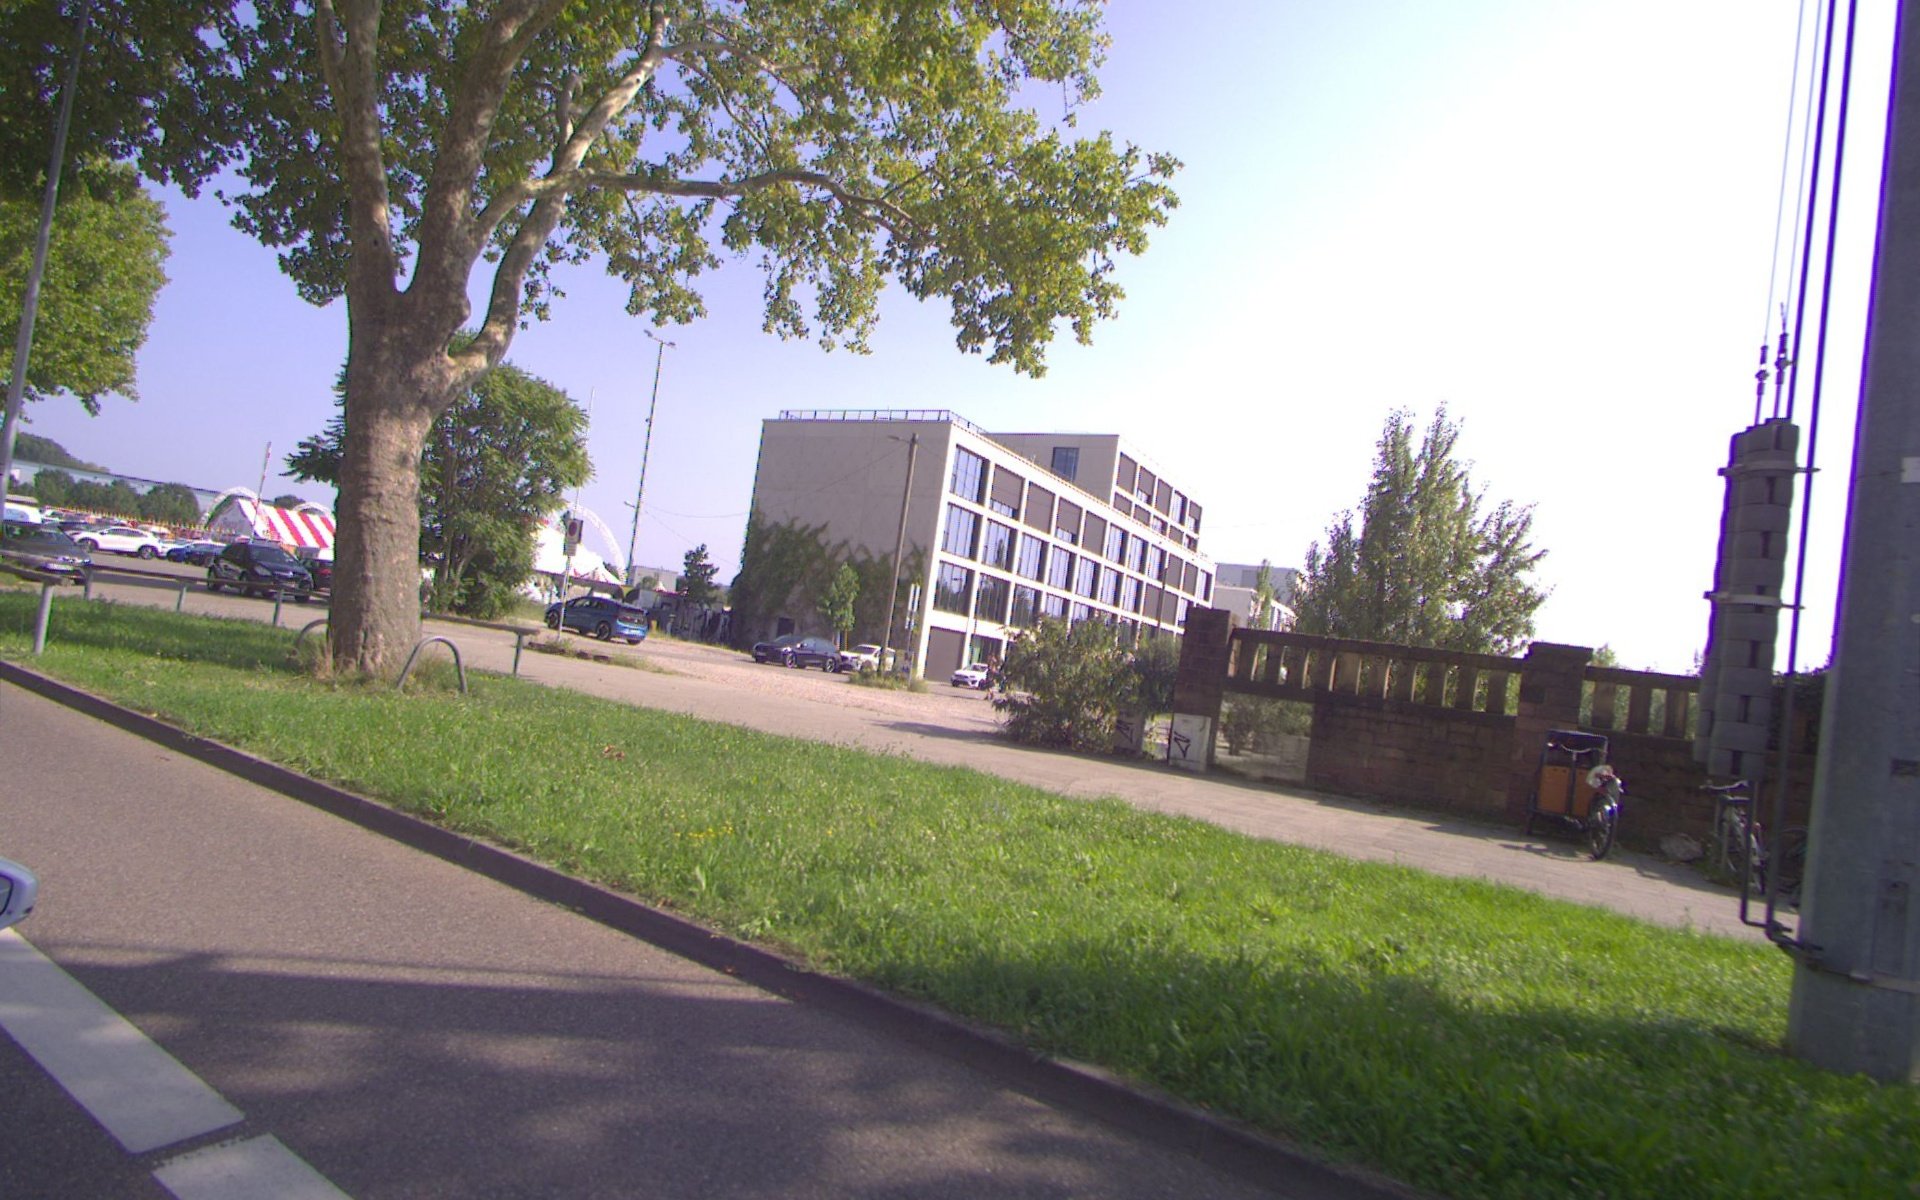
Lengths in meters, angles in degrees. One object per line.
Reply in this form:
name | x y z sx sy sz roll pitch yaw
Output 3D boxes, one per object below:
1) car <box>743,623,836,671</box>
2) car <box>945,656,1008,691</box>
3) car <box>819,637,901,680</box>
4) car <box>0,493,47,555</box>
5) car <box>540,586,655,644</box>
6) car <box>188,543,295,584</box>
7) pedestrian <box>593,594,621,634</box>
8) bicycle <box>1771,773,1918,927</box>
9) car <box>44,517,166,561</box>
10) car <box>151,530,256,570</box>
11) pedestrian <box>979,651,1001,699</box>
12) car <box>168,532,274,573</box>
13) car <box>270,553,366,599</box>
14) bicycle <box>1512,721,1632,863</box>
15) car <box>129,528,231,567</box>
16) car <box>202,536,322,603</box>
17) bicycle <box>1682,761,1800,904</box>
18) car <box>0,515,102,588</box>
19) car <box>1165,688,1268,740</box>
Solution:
car | -7.141 2.015 42.428 1.717 1.501 3.797 7 -4 30
car | 0.965 4.111 56.150 1.678 1.460 3.795 7 -4 32
car | -4.575 2.720 46.592 1.678 1.460 3.795 7 -4 32
car | -34.154 -2.847 34.255 1.818 1.941 4.108 7 -2 34
car | -13.897 0.574 38.561 3.887 1.592 1.711 7 -3 26
car | -40.257 -2.029 56.458 1.917 1.480 4.398 6 -3 35
pedestrian | -15.648 0.614 44.587 0.921 1.661 0.697 7 -2 -26
bicycle | 8.573 2.358 9.841 0.731 1.089 2.175 6 -1 35
car | -44.498 -3.142 52.437 1.914 1.480 4.356 7 -3 29
car | -44.119 -2.915 58.761 1.914 1.479 4.358 6 -4 29
pedestrian | 1.044 2.598 35.026 0.510 1.597 0.501 7 -2 6
car | -42.270 -2.684 57.643 1.914 1.479 4.358 6 -4 29
car | -28.449 -1.066 44.565 4.048 1.411 1.818 7 -3 31
bicycle | 7.072 2.147 11.696 0.982 1.292 2.248 5 -2 30
car | -46.981 -3.163 60.665 1.914 1.479 4.358 6 -4 29
car | -21.920 -0.968 31.554 3.733 1.594 1.611 7 -2 32
bicycle | 7.956 2.309 10.330 0.731 1.089 2.174 6 -1 35
car | -23.900 -1.336 25.612 4.475 1.465 1.731 7 -2 32
car | 9.362 4.177 36.653 3.756 1.398 1.667 11 -4 -40
